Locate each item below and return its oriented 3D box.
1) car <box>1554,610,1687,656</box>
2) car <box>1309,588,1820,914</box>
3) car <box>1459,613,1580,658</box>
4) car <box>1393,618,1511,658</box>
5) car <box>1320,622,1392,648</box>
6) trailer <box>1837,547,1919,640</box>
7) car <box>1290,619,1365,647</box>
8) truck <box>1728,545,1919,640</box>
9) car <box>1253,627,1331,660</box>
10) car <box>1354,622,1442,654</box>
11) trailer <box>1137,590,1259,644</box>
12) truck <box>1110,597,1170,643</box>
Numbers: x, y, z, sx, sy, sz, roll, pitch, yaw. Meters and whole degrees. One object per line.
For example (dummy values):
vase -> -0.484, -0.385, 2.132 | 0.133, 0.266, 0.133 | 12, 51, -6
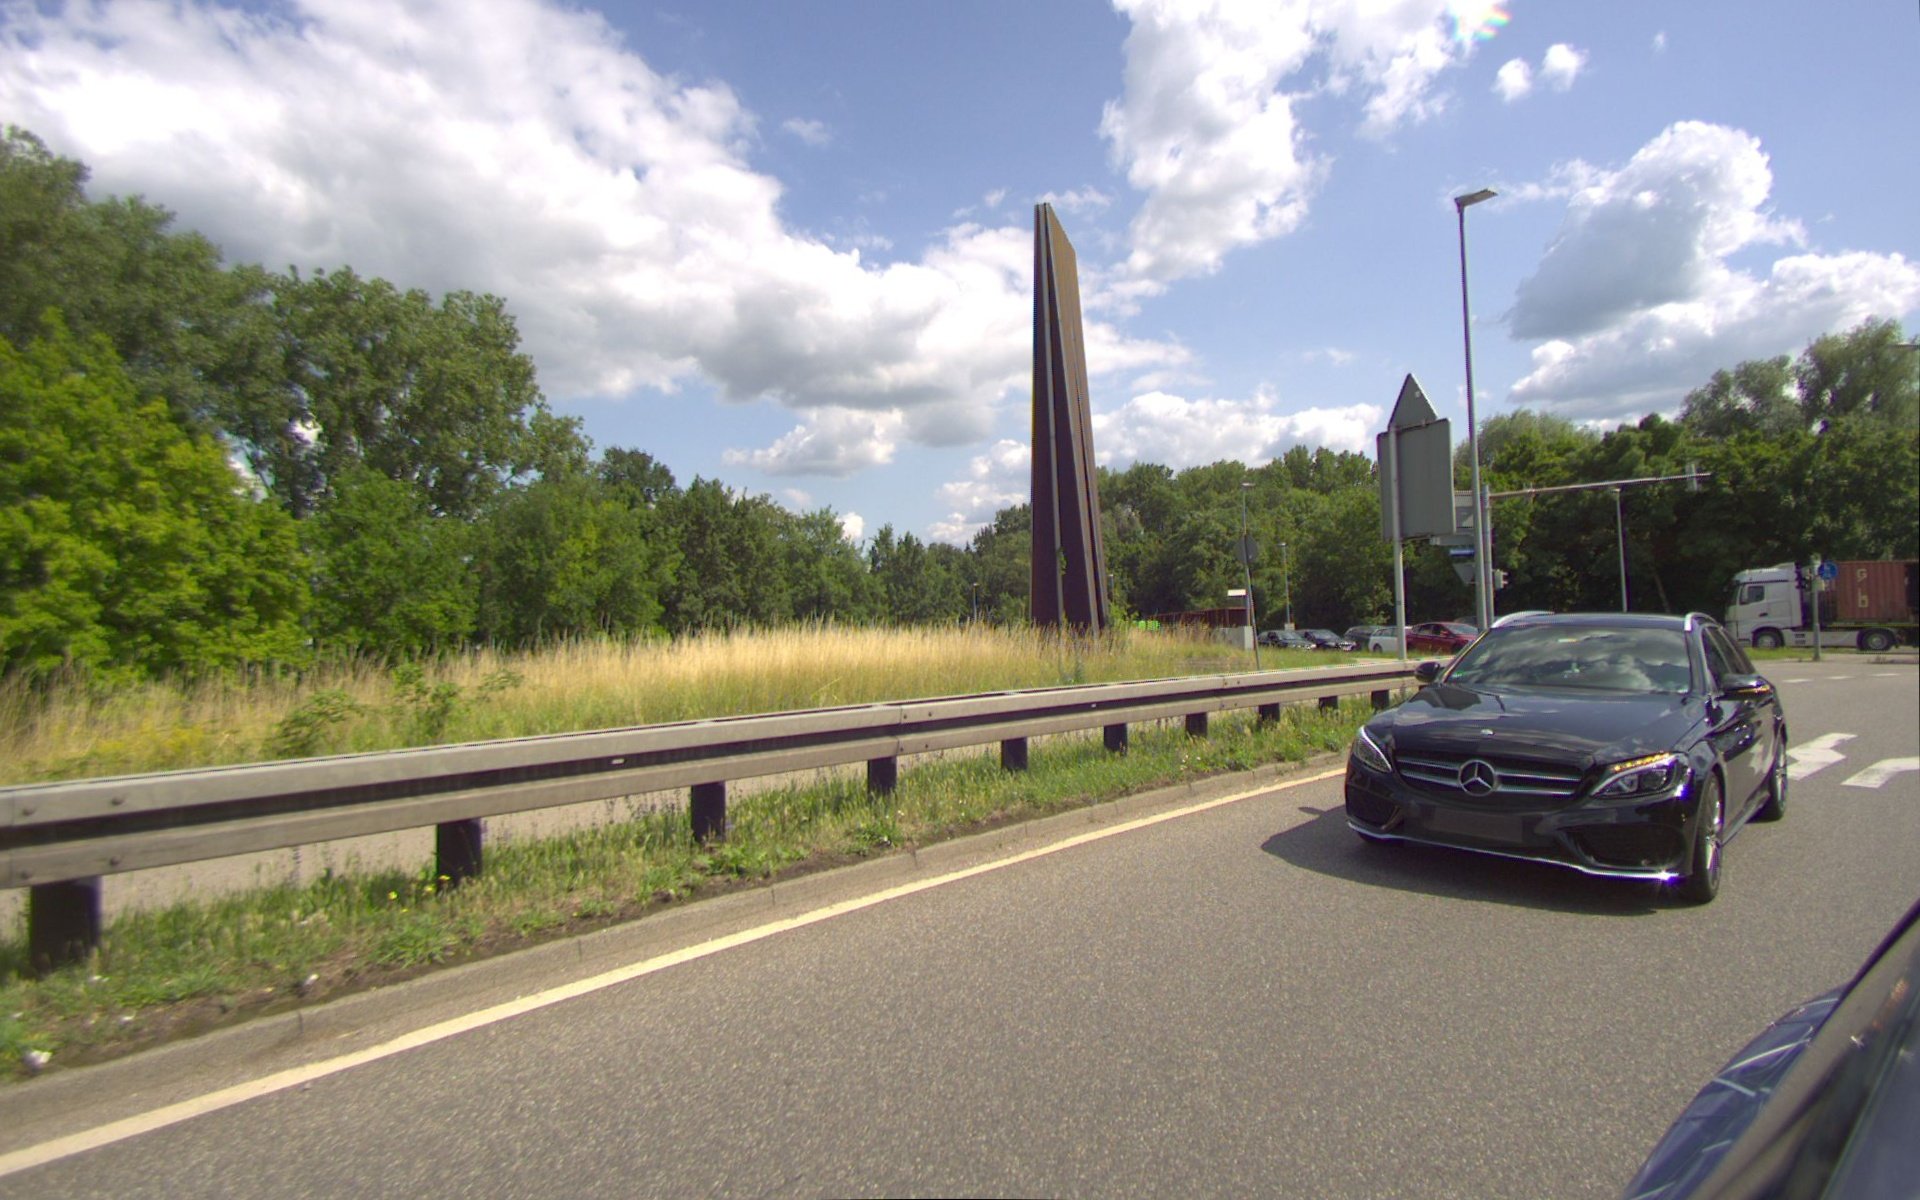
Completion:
car -> 25.679, 1.307, 39.549 | 1.807, 1.638, 4.301 | -1, -2, -11
car -> 4.186, 0.679, 6.666 | 4.297, 1.454, 1.792 | 0, -1, -44
car -> 21.832, 1.399, 39.689 | 1.799, 1.667, 4.221 | 0, -2, -11
car -> 18.156, 1.420, 37.560 | 1.722, 1.393, 4.221 | 0, -2, -11
car -> 21.913, 1.960, 56.163 | 1.841, 1.393, 4.055 | 0, -2, -11
trailer -> 44.676, -0.324, 42.035 | 12.160, 3.900, 2.762 | -1, -2, 19
car -> 19.043, 1.727, 52.651 | 1.665, 1.393, 4.221 | 0, -2, -11
truck -> 38.318, -0.231, 44.453 | 6.755, 3.895, 2.750 | -2, -2, 28
car -> 16.305, 2.141, 49.888 | 1.828, 1.483, 4.005 | -1, -2, -12
car -> 20.339, 1.770, 47.220 | 1.612, 1.393, 4.221 | 0, -2, -11
trailer -> 19.262, 1.601, 83.574 | 2.592, 3.942, 13.868 | 0, -3, -20
truck -> 16.271, 1.889, 91.881 | 2.817, 3.955, 5.886 | 0, -3, -18
